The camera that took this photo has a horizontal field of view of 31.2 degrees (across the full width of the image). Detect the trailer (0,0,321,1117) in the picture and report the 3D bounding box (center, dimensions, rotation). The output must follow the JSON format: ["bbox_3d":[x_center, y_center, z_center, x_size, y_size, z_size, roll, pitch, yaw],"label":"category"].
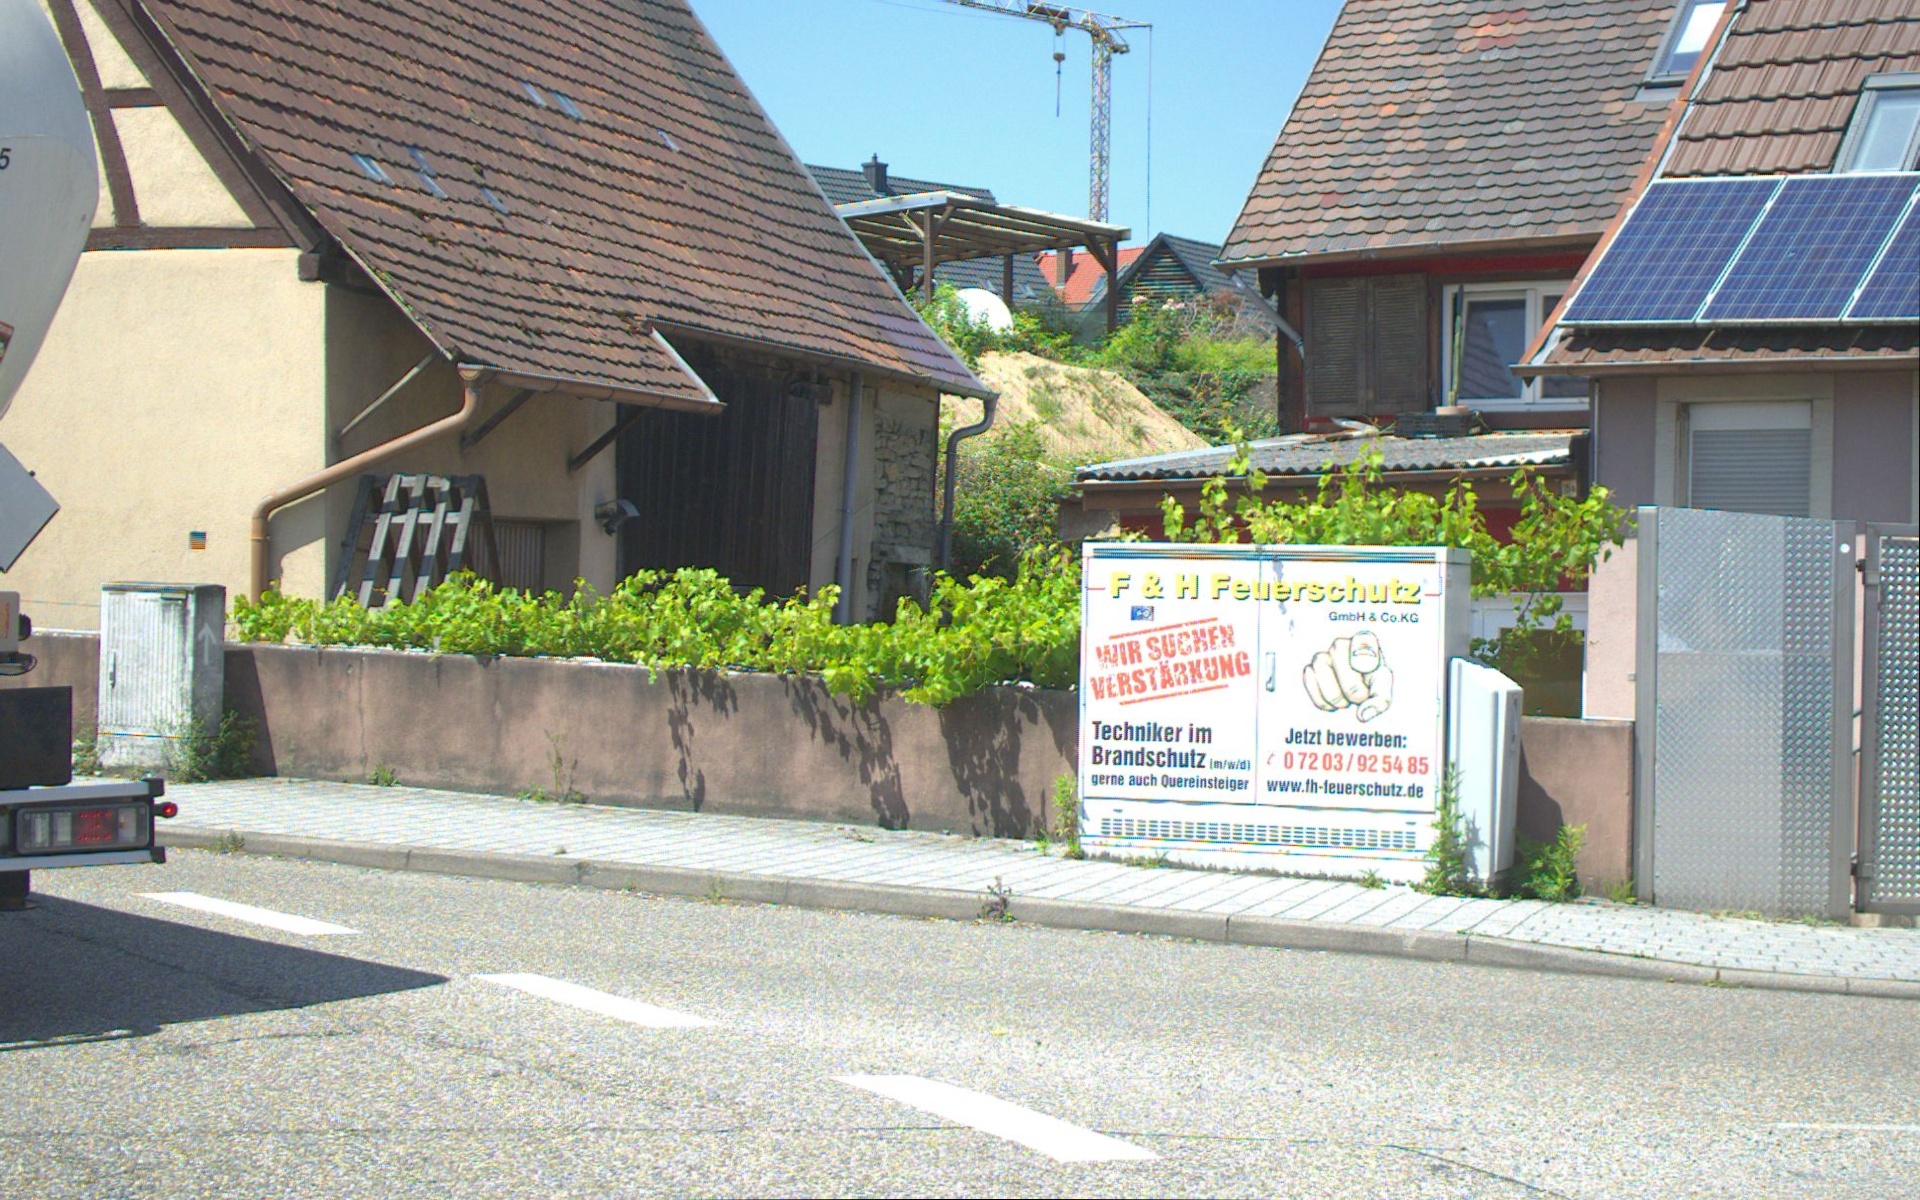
[{"bbox_3d":[-6.969,-0.656,14.054,2.954,3.934,11.614,2,1,-41],"label":"trailer"}]
